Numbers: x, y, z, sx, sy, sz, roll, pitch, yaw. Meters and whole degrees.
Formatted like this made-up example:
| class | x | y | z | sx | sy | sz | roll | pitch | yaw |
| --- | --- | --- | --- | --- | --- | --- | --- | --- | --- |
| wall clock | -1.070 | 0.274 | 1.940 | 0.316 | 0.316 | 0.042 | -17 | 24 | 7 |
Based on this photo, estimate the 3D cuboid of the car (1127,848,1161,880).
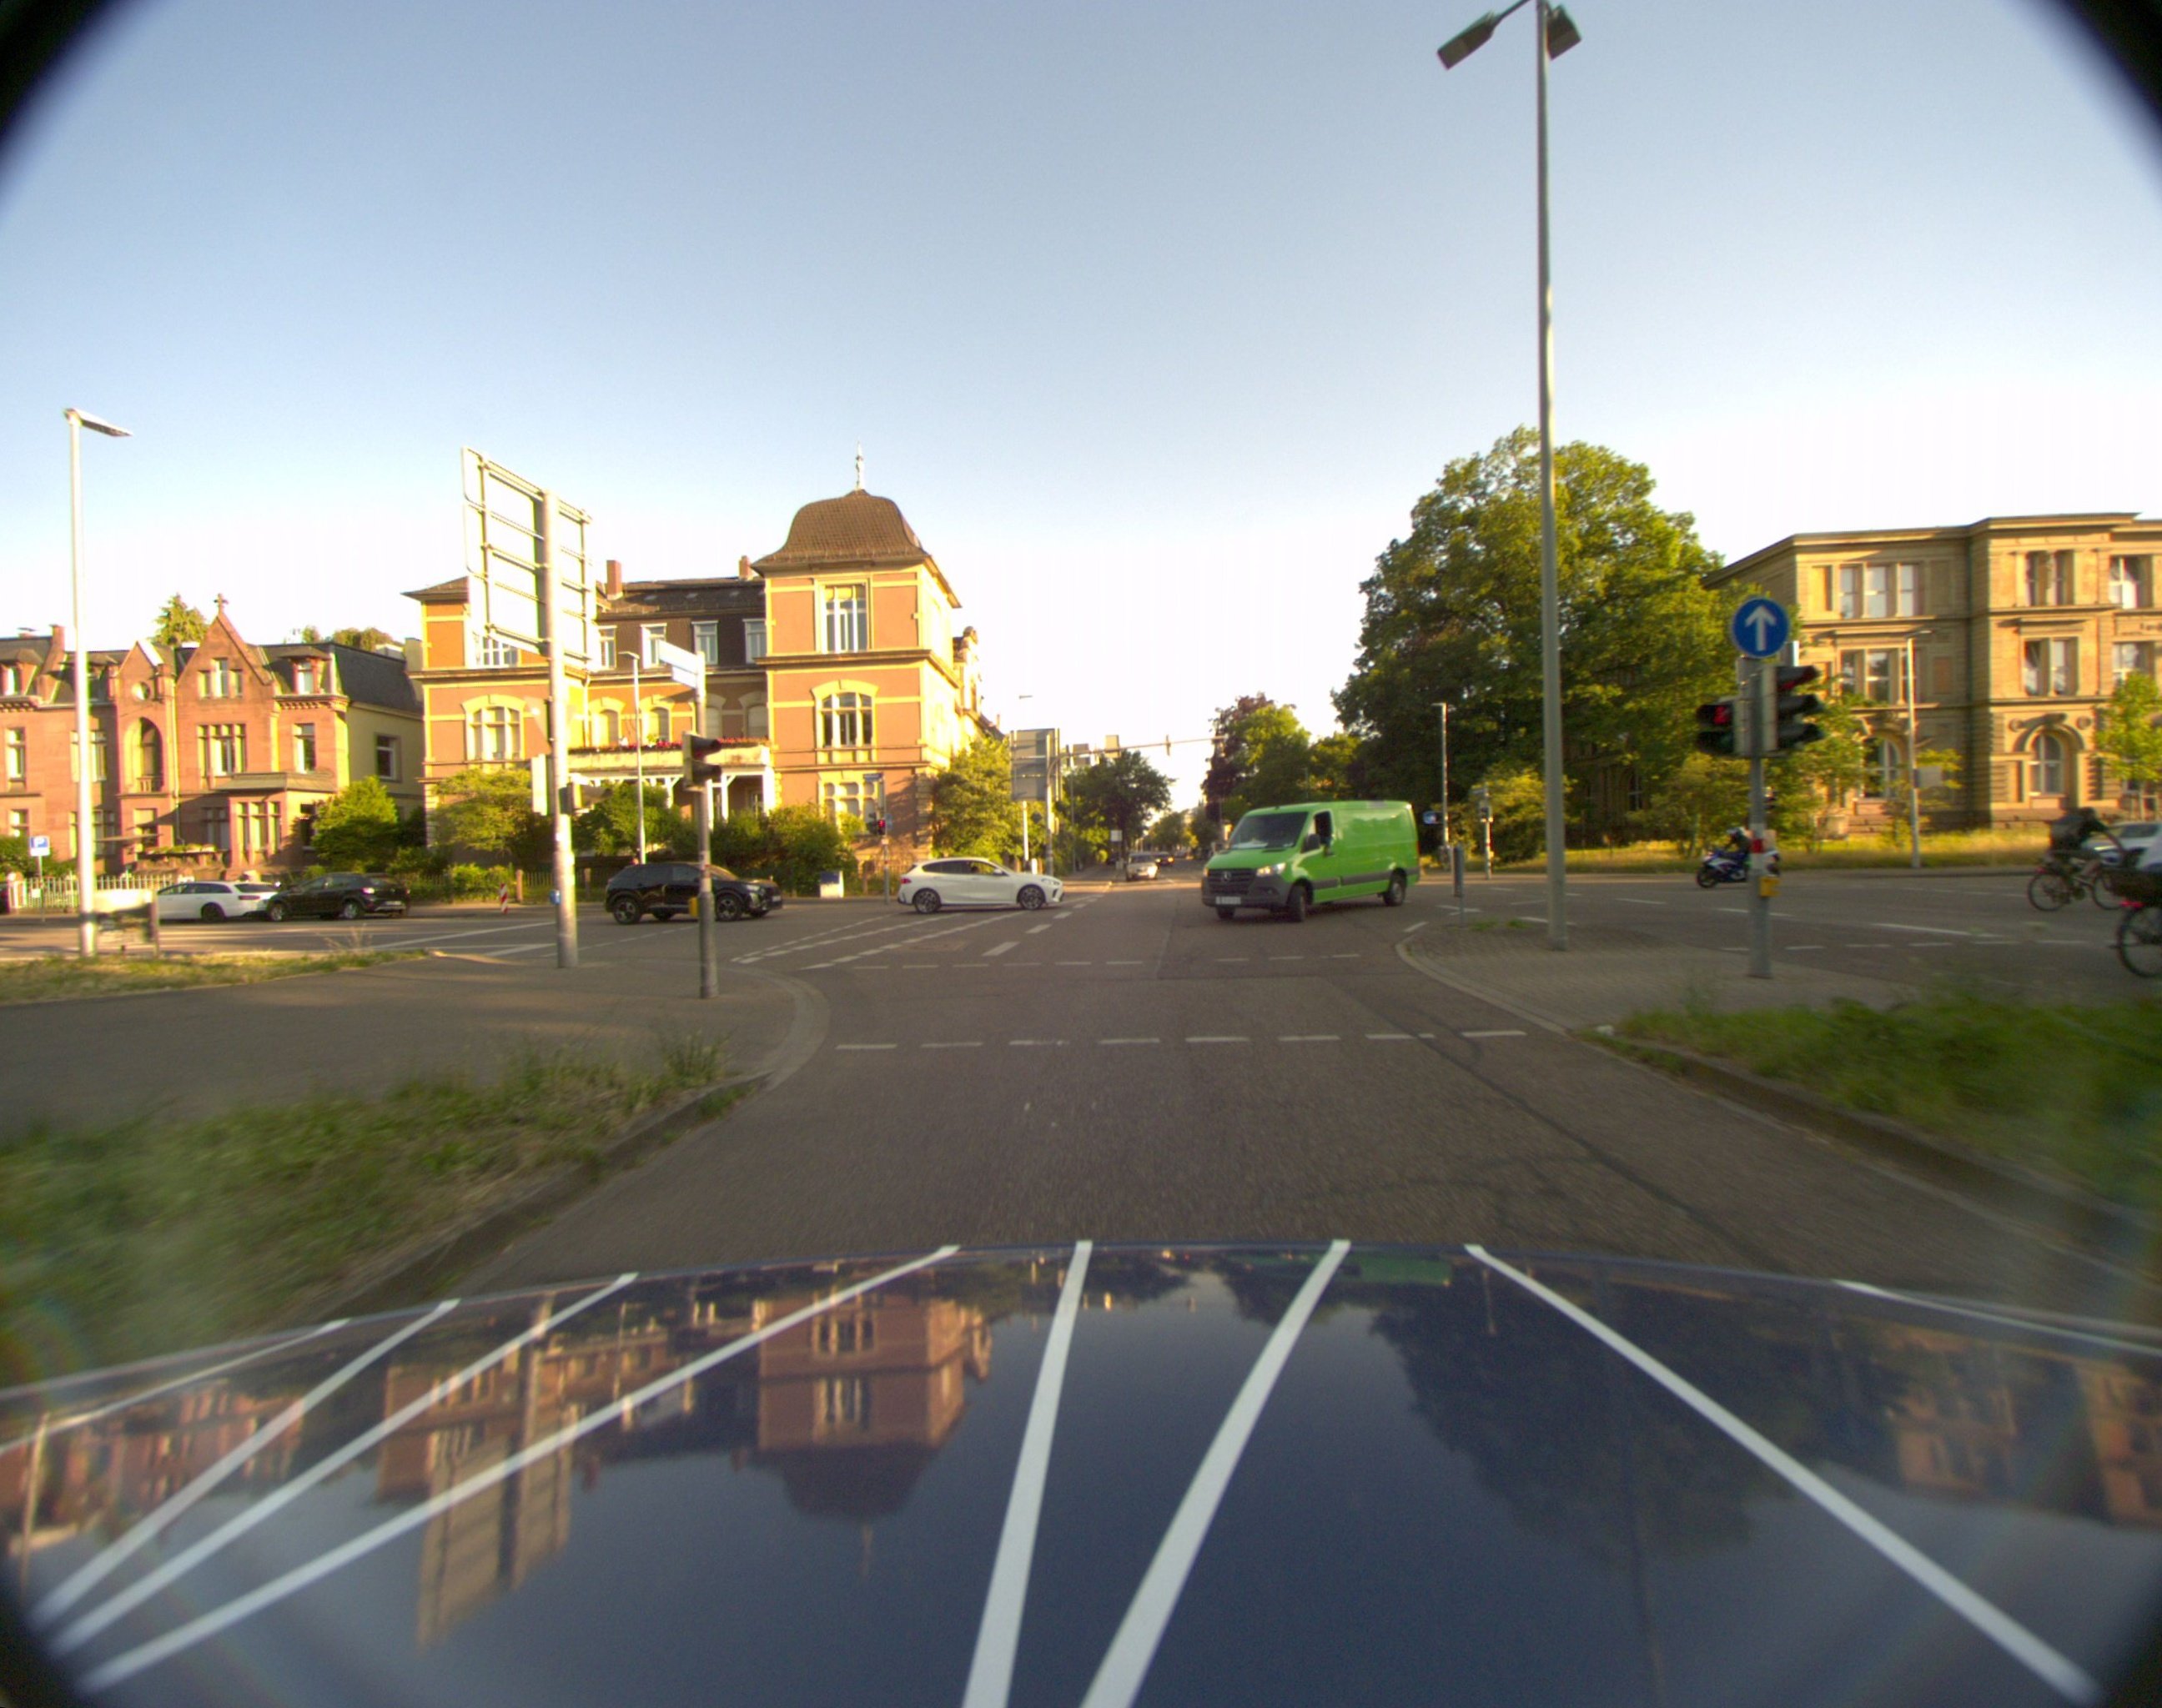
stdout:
| class | x | y | z | sx | sy | sz | roll | pitch | yaw |
| --- | --- | --- | --- | --- | --- | --- | --- | --- | --- |
| car | 3.420 | 0.504 | 41.227 | 1.689 | 1.501 | 3.701 | -4 | 0 | 5 |

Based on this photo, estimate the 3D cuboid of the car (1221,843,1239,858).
| class | x | y | z | sx | sy | sz | roll | pitch | yaw |
| --- | --- | --- | --- | --- | --- | --- | --- | --- | --- |
| car | 18.602 | -0.486 | 95.058 | 1.798 | 1.718 | 4.000 | -2 | 2 | 5 |

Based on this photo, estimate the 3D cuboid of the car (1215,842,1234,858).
| class | x | y | z | sx | sy | sz | roll | pitch | yaw |
| --- | --- | --- | --- | --- | --- | --- | --- | --- | --- |
| car | 19.026 | -0.569 | 100.557 | 1.998 | 2.002 | 4.000 | -1 | 2 | 4 |

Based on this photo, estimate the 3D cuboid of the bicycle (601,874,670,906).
| class | x | y | z | sx | sy | sz | roll | pitch | yaw |
| --- | --- | --- | --- | --- | --- | --- | --- | --- | --- |
| bicycle | -16.593 | 1.345 | 28.315 | 2.166 | 1.117 | 0.688 | -1 | 2 | 3 |

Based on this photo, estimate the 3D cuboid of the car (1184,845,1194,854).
| class | x | y | z | sx | sy | sz | roll | pitch | yaw |
| --- | --- | --- | --- | --- | --- | --- | --- | --- | --- |
| car | 21.804 | -0.962 | 153.643 | 1.675 | 1.718 | 3.638 | -2 | 0 | 5 |

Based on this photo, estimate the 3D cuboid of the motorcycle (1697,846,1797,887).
| class | x | y | z | sx | sy | sz | roll | pitch | yaw |
| --- | --- | --- | --- | --- | --- | --- | --- | --- | --- |
| motorcycle | 17.180 | 0.316 | 19.635 | 1.877 | 0.995 | 0.757 | -2 | 1 | 3 |

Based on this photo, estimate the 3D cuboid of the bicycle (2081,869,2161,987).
| class | x | y | z | sx | sy | sz | roll | pitch | yaw |
| --- | --- | --- | --- | --- | --- | --- | --- | --- | --- |
| bicycle | 10.466 | 0.649 | 7.017 | 1.801 | 1.008 | 0.565 | -2 | 1 | -3 |

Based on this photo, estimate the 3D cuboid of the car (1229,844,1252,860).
| class | x | y | z | sx | sy | sz | roll | pitch | yaw |
| --- | --- | --- | --- | --- | --- | --- | --- | --- | --- |
| car | 17.218 | -0.206 | 82.136 | 1.935 | 1.633 | 4.001 | -2 | 0 | 5 |

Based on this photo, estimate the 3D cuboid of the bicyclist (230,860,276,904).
| class | x | y | z | sx | sy | sz | roll | pitch | yaw |
| --- | --- | --- | --- | --- | --- | --- | --- | --- | --- |
| bicyclist | -31.093 | 1.045 | 28.551 | 0.913 | 1.624 | 0.653 | -1 | 3 | 4 |

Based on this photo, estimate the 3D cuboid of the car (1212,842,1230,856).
| class | x | y | z | sx | sy | sz | roll | pitch | yaw |
| --- | --- | --- | --- | --- | --- | --- | --- | --- | --- |
| car | 19.541 | -0.730 | 106.349 | 1.998 | 1.806 | 4.000 | -1 | 2 | 4 |

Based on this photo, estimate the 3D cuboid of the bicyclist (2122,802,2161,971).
| class | x | y | z | sx | sy | sz | roll | pitch | yaw |
| --- | --- | --- | --- | --- | --- | --- | --- | --- | --- |
| bicyclist | 10.422 | 0.289 | 7.009 | 0.898 | 1.560 | 0.555 | -2 | 1 | -2 |

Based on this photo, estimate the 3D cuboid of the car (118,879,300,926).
| class | x | y | z | sx | sy | sz | roll | pitch | yaw |
| --- | --- | --- | --- | --- | --- | --- | --- | --- | --- |
| car | -29.746 | 1.639 | 25.997 | 4.429 | 1.434 | 1.610 | -1 | -2 | 1 |

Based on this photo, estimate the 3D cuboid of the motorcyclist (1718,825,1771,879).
| class | x | y | z | sx | sy | sz | roll | pitch | yaw |
| --- | --- | --- | --- | --- | --- | --- | --- | --- | --- |
| motorcyclist | 17.128 | -0.049 | 19.630 | 0.703 | 1.350 | 0.752 | -1 | 0 | 4 |

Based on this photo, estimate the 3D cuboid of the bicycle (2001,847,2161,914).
| class | x | y | z | sx | sy | sz | roll | pitch | yaw |
| --- | --- | --- | --- | --- | --- | --- | --- | --- | --- |
| bicycle | 17.042 | 0.433 | 12.936 | 1.823 | 1.057 | 0.701 | -2 | 2 | 4 |

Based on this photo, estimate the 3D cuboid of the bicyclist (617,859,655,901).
| class | x | y | z | sx | sy | sz | roll | pitch | yaw |
| --- | --- | --- | --- | --- | --- | --- | --- | --- | --- |
| bicyclist | -16.565 | 0.967 | 28.305 | 0.955 | 1.504 | 0.685 | -2 | 2 | 4 |

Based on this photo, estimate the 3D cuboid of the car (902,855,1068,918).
| class | x | y | z | sx | sy | sz | roll | pitch | yaw |
| --- | --- | --- | --- | --- | --- | --- | --- | --- | --- |
| car | -2.537 | 0.818 | 20.363 | 4.188 | 1.457 | 1.756 | -2 | 1 | -7 |

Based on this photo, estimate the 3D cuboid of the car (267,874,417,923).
| class | x | y | z | sx | sy | sz | roll | pitch | yaw |
| --- | --- | --- | --- | --- | --- | --- | --- | --- | --- |
| car | -25.130 | 1.495 | 25.906 | 3.718 | 1.525 | 1.634 | -2 | -2 | 5 |

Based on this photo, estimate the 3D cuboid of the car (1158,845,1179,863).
| class | x | y | z | sx | sy | sz | roll | pitch | yaw |
| --- | --- | --- | --- | --- | --- | --- | --- | --- | --- |
| car | 8.971 | -0.015 | 78.025 | 1.997 | 1.783 | 4.002 | -2 | 0 | 6 |

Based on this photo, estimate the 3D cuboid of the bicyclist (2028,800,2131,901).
| class | x | y | z | sx | sy | sz | roll | pitch | yaw |
| --- | --- | --- | --- | --- | --- | --- | --- | --- | --- |
| bicyclist | 16.959 | -0.064 | 12.926 | 0.797 | 1.658 | 0.700 | -2 | 2 | 4 |

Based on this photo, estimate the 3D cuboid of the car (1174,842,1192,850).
| class | x | y | z | sx | sy | sz | roll | pitch | yaw |
| --- | --- | --- | --- | --- | --- | --- | --- | --- | --- |
| car | 21.309 | -1.650 | 158.747 | 3.754 | 1.608 | 1.823 | -2 | 1 | 6 |

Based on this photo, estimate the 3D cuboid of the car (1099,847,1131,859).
| class | x | y | z | sx | sy | sz | roll | pitch | yaw |
| --- | --- | --- | --- | --- | --- | --- | --- | --- | --- |
| car | 4.464 | -0.136 | 99.477 | 3.838 | 1.500 | 1.812 | 1 | 3 | 43 |

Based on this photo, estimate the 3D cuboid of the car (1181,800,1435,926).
| class | x | y | z | sx | sy | sz | roll | pitch | yaw |
| --- | --- | --- | --- | --- | --- | --- | --- | --- | --- |
| car | 5.034 | 0.062 | 16.286 | 5.951 | 2.265 | 2.040 | -3 | 1 | -37 |

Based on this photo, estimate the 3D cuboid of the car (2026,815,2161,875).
| class | x | y | z | sx | sy | sz | roll | pitch | yaw |
| --- | --- | --- | --- | --- | --- | --- | --- | --- | --- |
| car | 30.838 | -0.296 | 22.019 | 4.508 | 1.626 | 1.771 | -2 | 1 | 3 |

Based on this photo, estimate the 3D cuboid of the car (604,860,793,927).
| class | x | y | z | sx | sy | sz | roll | pitch | yaw |
| --- | --- | --- | --- | --- | --- | --- | --- | --- | --- |
| car | -9.788 | 0.996 | 19.626 | 3.996 | 1.527 | 1.684 | -2 | 1 | 3 |

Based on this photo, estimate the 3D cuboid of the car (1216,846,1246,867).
| class | x | y | z | sx | sy | sz | roll | pitch | yaw |
| --- | --- | --- | --- | --- | --- | --- | --- | --- | --- |
| car | 11.208 | 0.166 | 56.916 | 1.733 | 1.400 | 4.141 | -2 | 0 | 6 |
